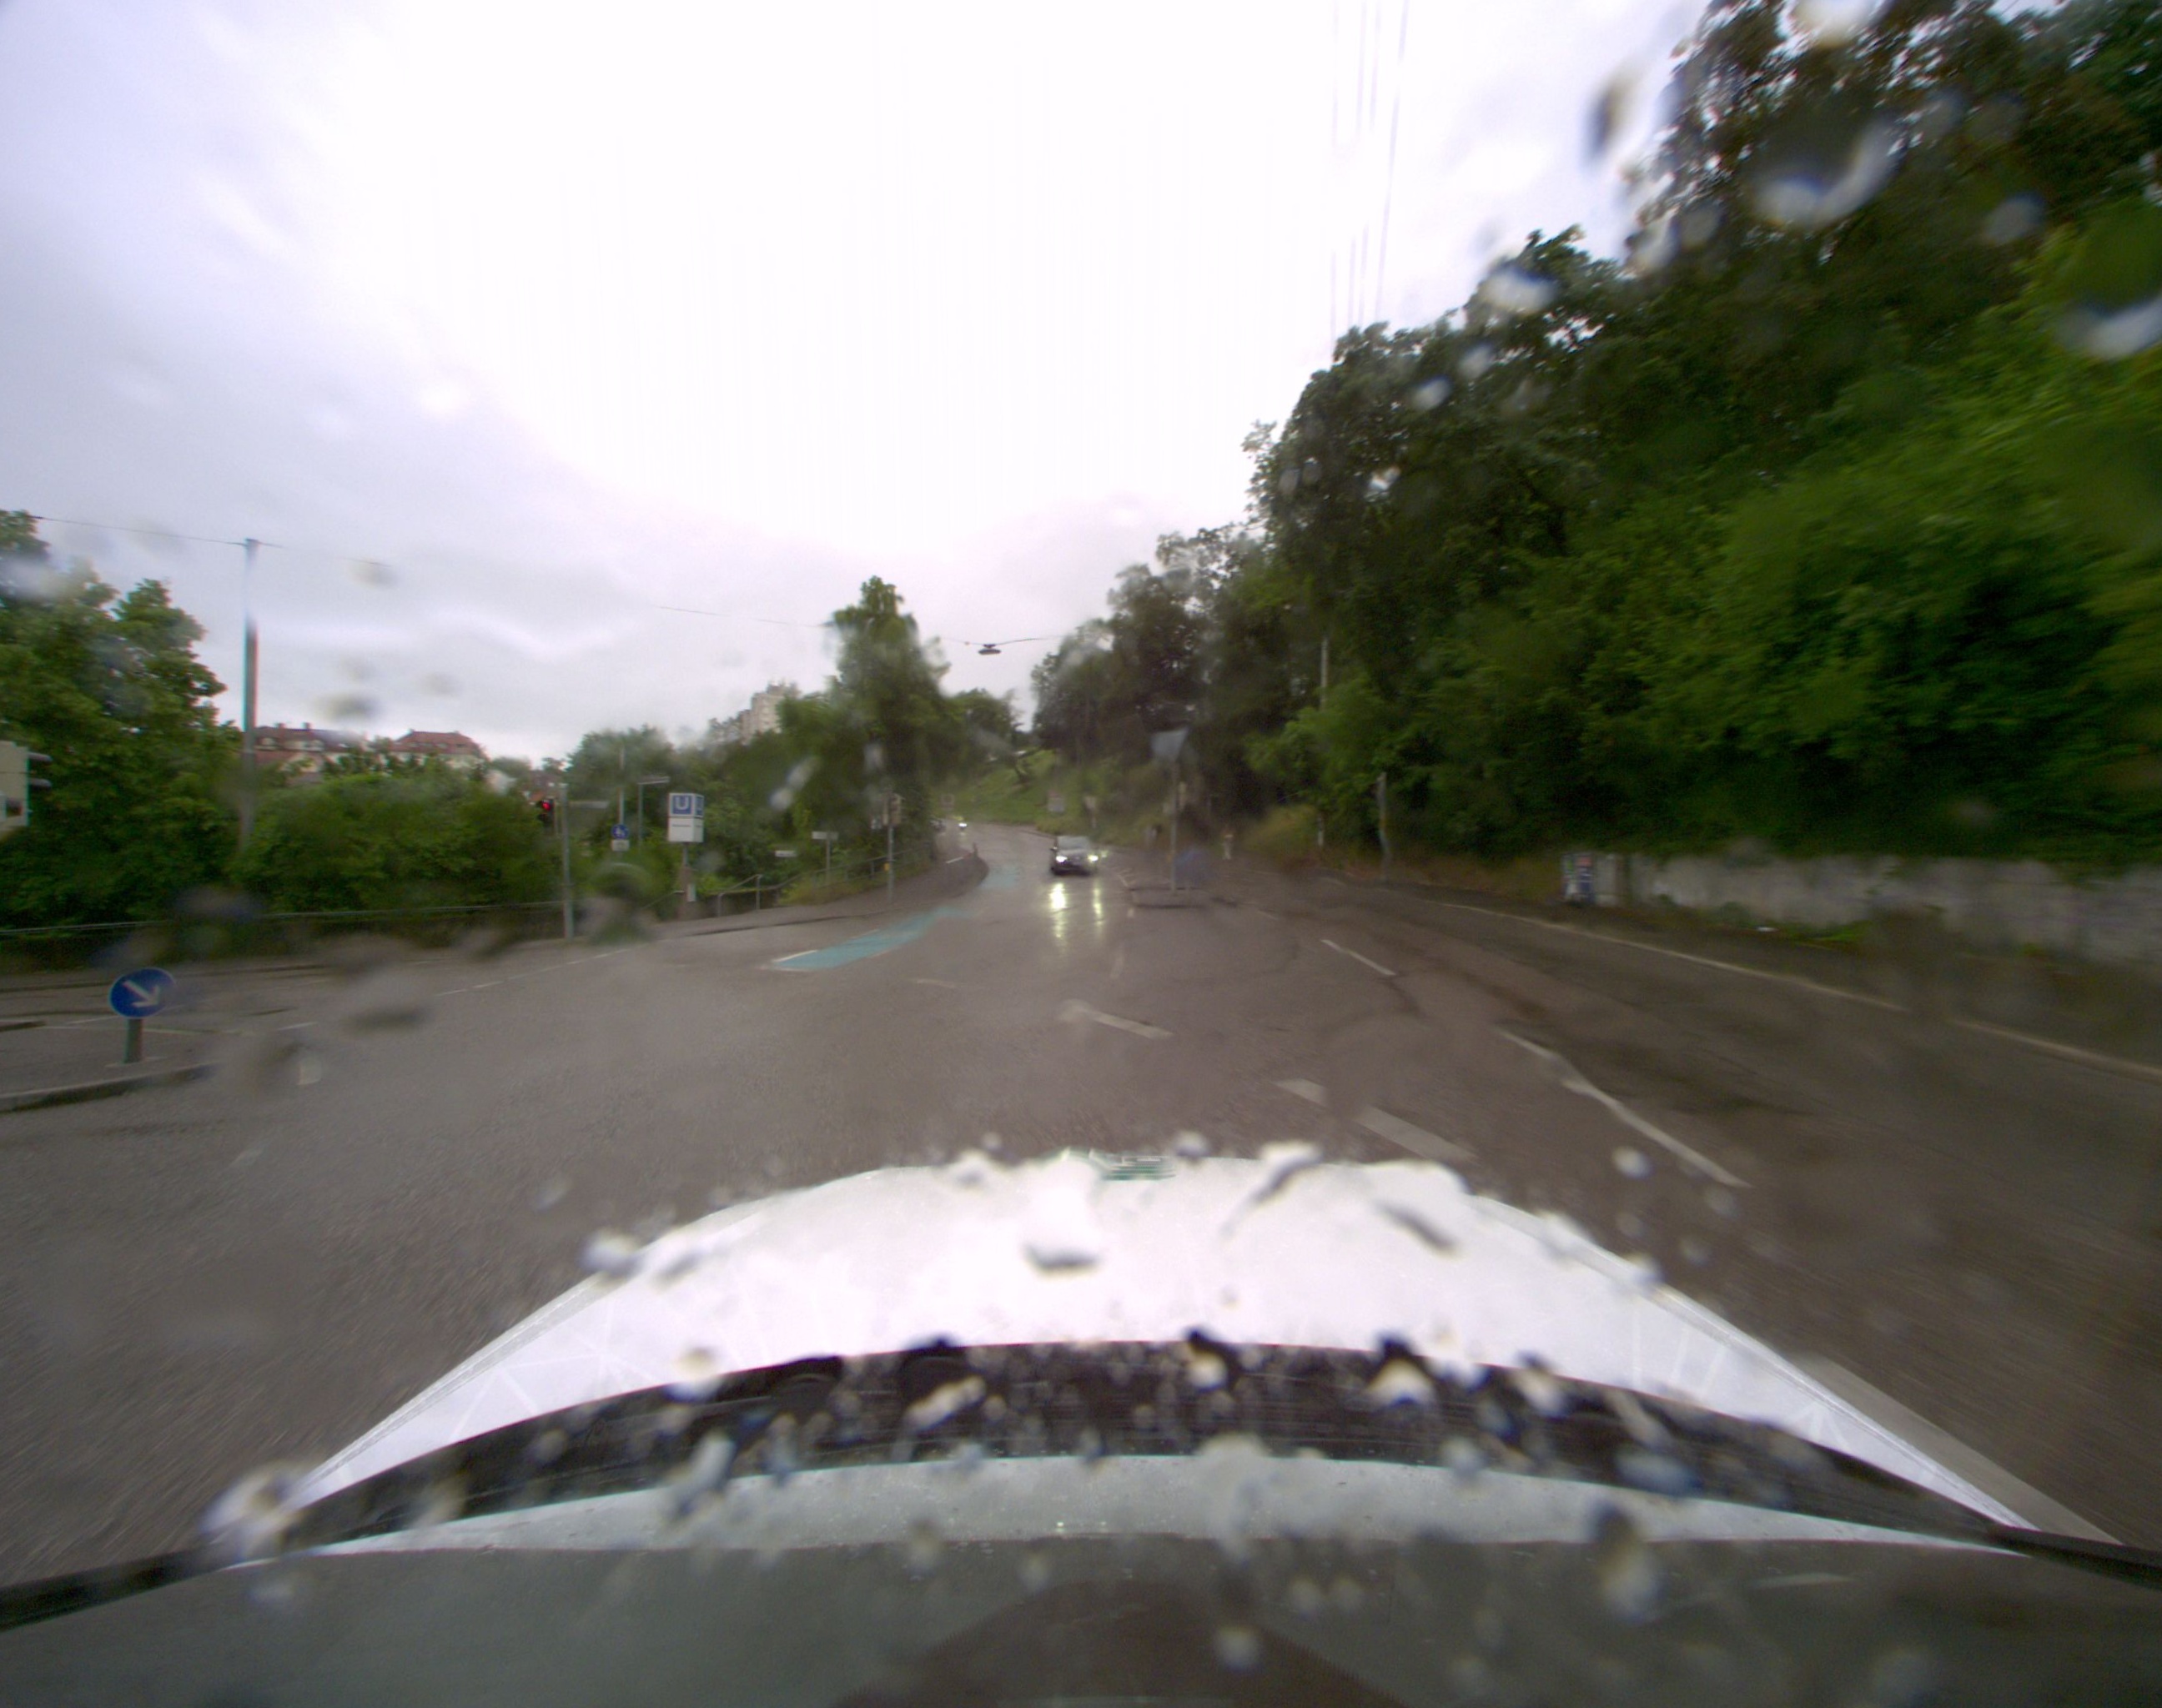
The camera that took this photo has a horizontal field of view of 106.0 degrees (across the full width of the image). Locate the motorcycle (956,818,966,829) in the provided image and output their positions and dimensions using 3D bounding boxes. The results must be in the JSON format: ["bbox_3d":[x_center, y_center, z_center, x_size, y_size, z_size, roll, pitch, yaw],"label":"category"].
[{"bbox_3d":[-13.052,-3.301,88.745,0.939,1.143,2.637,-1,3,-10],"label":"motorcycle"}]

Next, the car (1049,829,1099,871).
[{"bbox_3d":[-0.298,-0.217,33.569,1.877,1.521,4.691,-2,2,-1],"label":"car"}]

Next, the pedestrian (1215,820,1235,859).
[{"bbox_3d":[6.579,-0.672,37.187,0.647,1.752,0.797,0,2,-10],"label":"pedestrian"}]

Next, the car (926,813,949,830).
[{"bbox_3d":[-15.481,-3.506,87.670,1.841,1.691,3.978,-2,4,-18],"label":"car"}]

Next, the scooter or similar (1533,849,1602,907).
[{"bbox_3d":[9.743,0.446,16.375,0.598,1.075,1.774,0,1,10],"label":"scooter or similar"}]

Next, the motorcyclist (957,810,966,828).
[{"bbox_3d":[-13.054,-3.812,88.742,0.884,1.873,1.250,-1,3,-11],"label":"motorcyclist"}]
